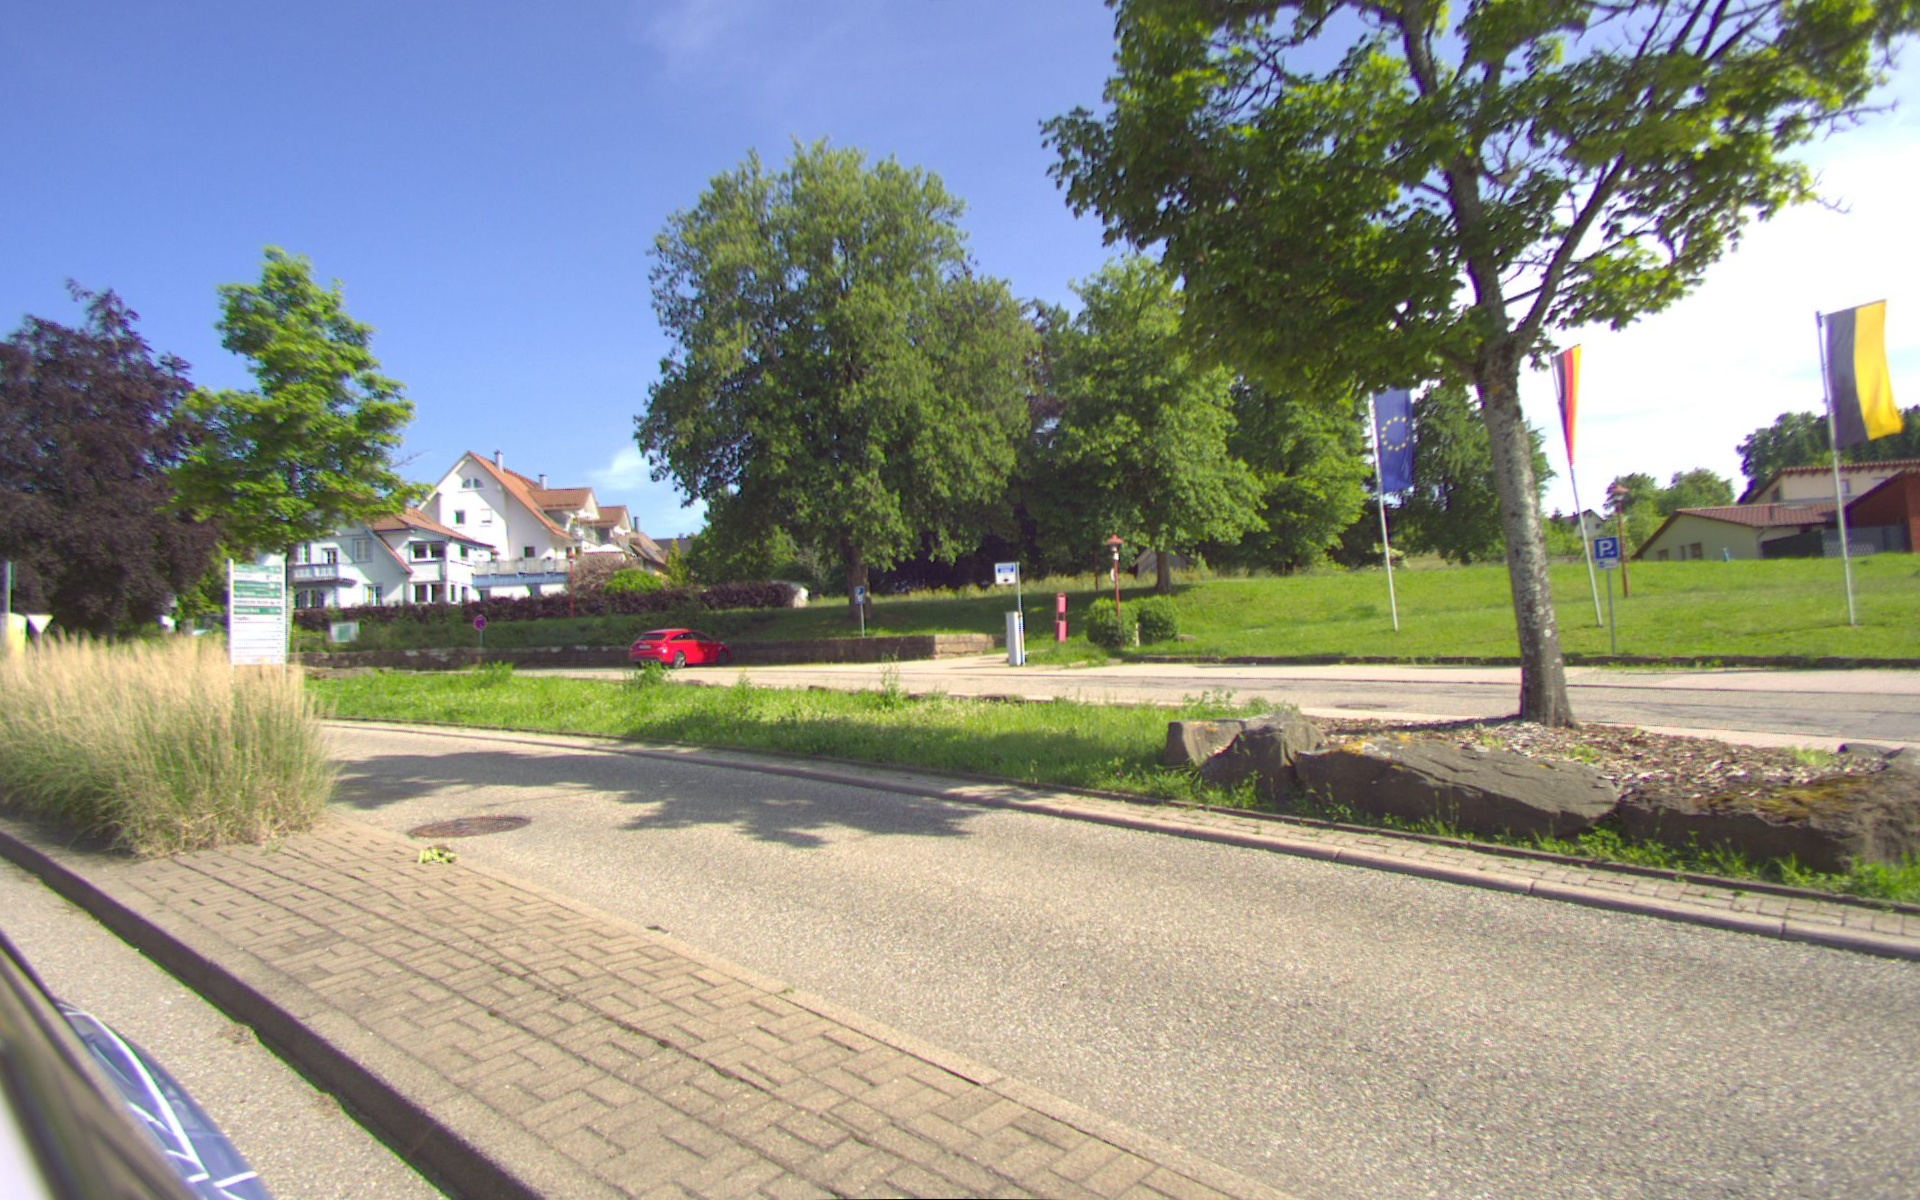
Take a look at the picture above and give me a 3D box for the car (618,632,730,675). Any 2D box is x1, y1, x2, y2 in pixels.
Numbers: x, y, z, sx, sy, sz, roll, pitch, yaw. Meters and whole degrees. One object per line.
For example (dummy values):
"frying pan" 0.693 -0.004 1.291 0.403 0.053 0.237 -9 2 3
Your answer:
"car" -10.478 1.936 37.384 1.811 1.409 4.207 -3 -2 22

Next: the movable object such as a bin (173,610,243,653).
"movable object such as a bin" -51.521 2.142 69.460 1.967 2.790 5.117 -1 -1 -13
